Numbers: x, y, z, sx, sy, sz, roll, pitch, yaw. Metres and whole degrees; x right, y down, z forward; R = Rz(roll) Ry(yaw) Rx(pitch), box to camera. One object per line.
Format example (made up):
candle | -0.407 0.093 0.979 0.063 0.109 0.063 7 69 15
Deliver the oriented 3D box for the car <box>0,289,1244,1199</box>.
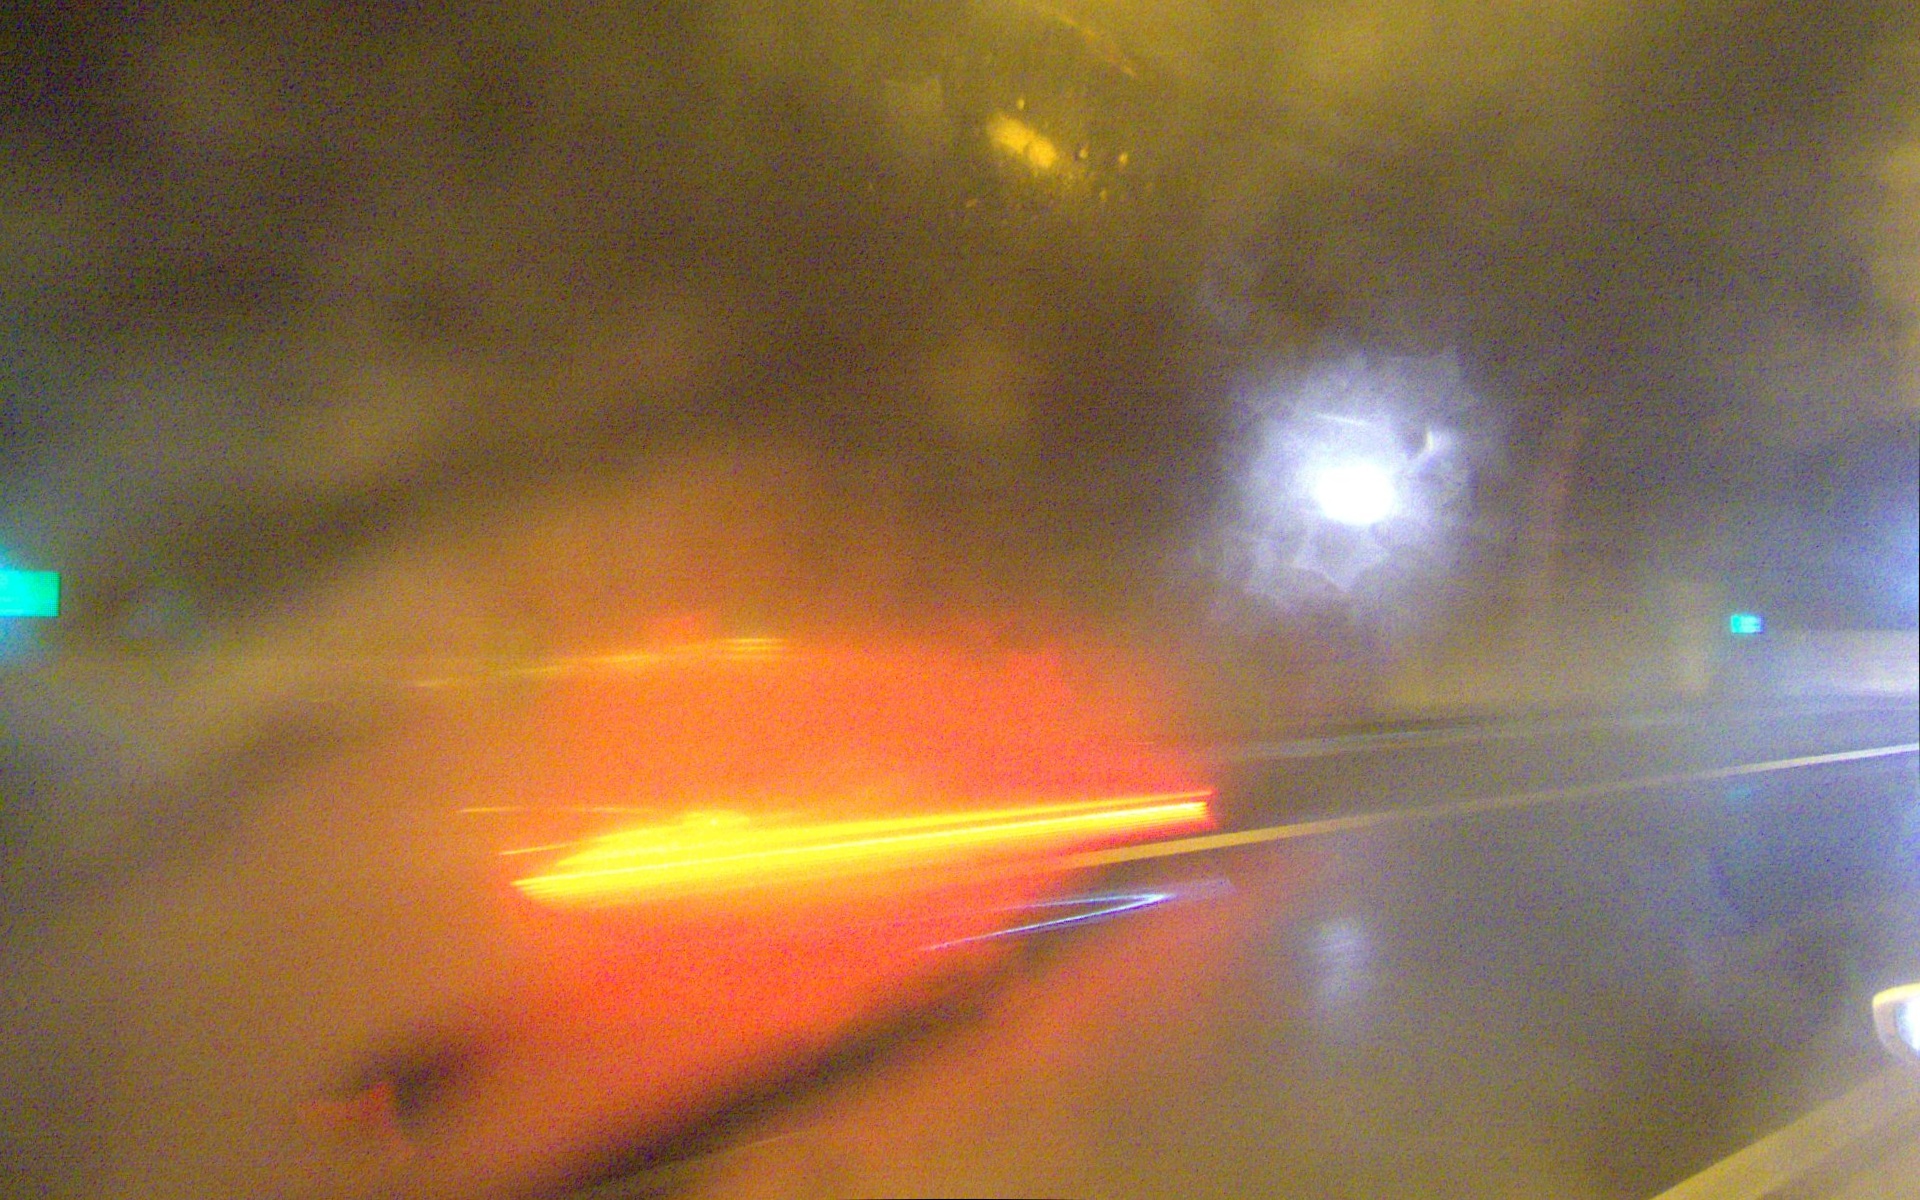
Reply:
car | -1.403 0.488 2.323 3.886 1.816 1.721 2 0 -30
